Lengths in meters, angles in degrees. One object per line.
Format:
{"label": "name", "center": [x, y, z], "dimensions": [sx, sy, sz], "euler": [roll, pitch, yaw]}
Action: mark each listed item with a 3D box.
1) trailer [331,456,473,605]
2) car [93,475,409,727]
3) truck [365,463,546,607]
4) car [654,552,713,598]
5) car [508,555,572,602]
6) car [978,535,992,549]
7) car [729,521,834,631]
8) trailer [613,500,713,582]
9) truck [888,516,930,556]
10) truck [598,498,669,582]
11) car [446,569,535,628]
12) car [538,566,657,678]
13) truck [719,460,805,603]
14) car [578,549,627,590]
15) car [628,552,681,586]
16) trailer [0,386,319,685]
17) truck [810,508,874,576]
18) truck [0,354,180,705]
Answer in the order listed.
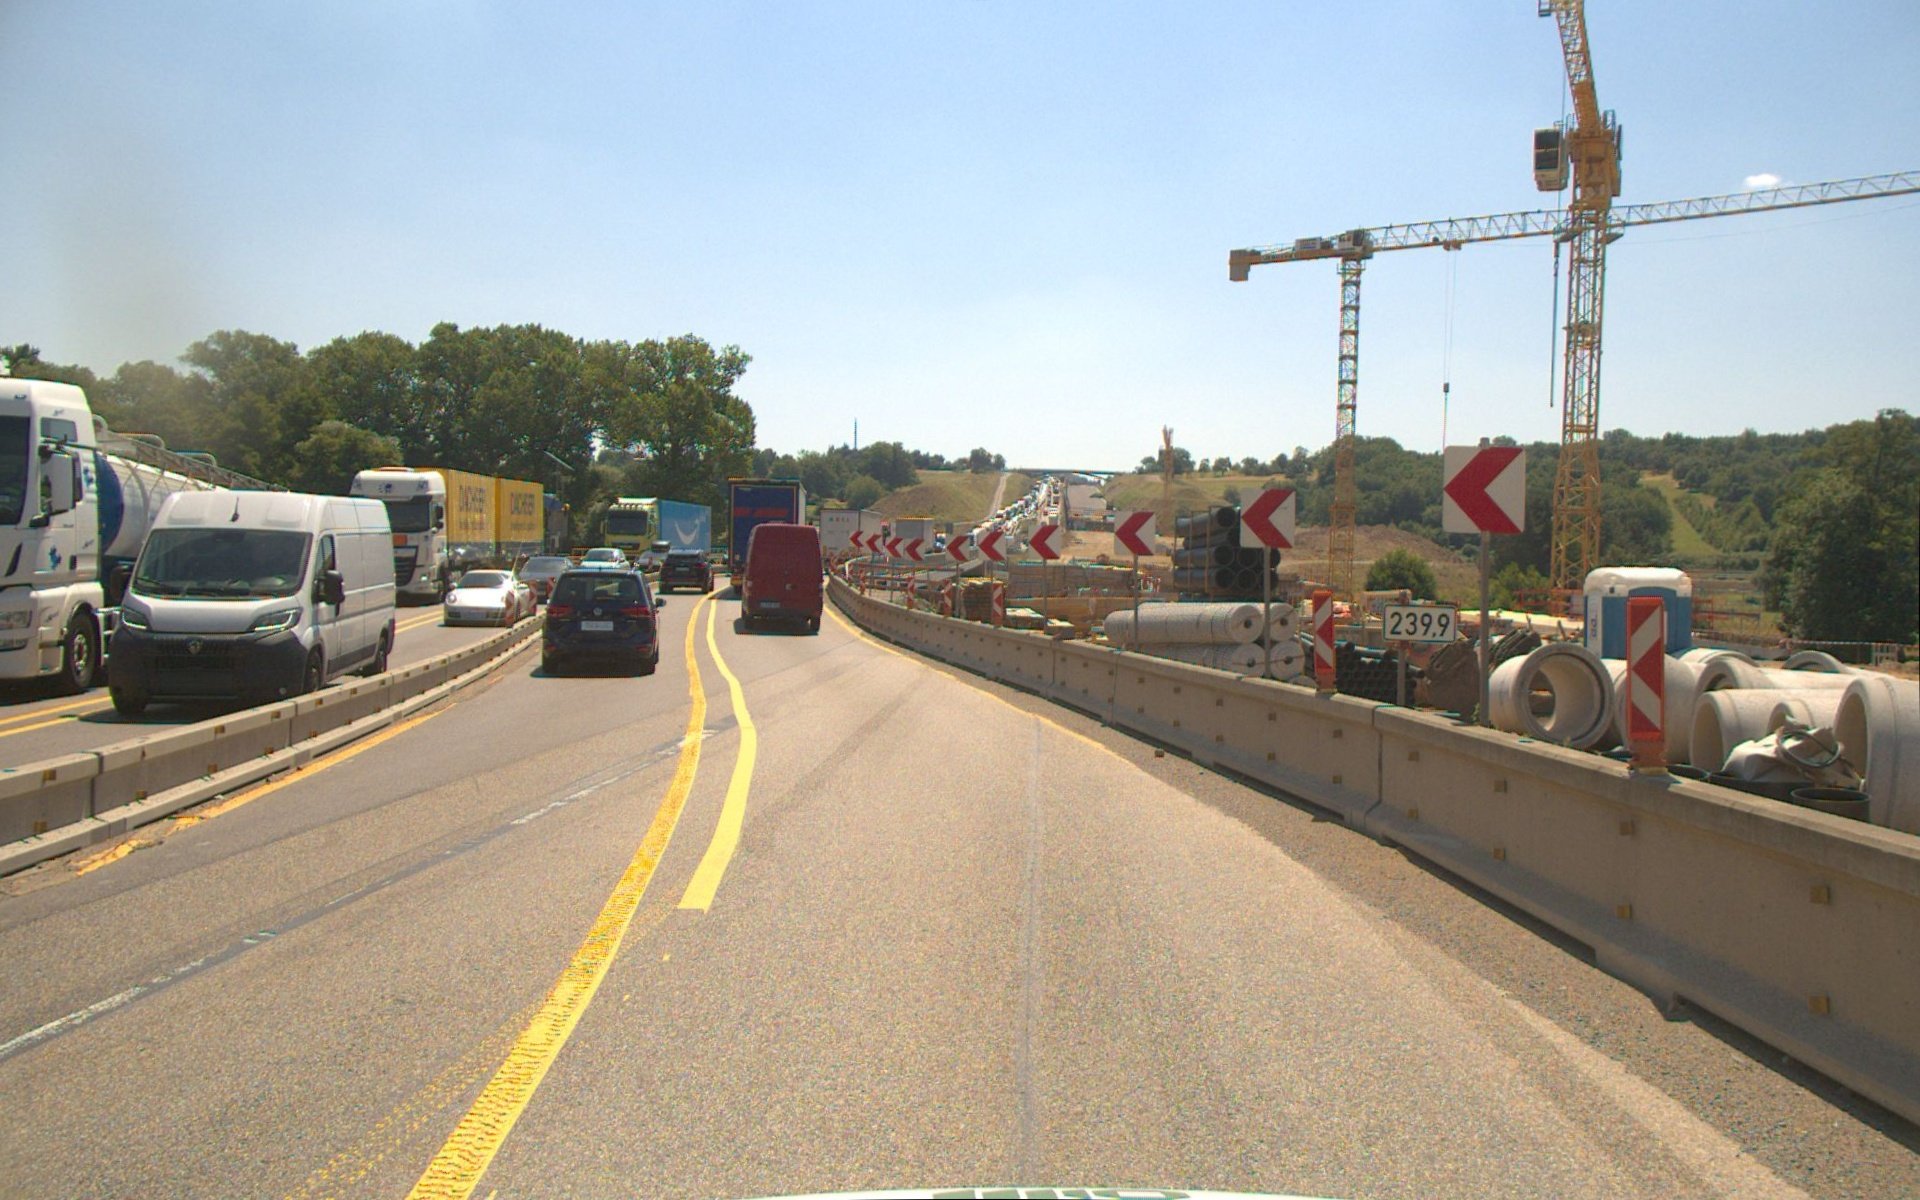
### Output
{"label": "trailer", "center": [-17.091, -2.065, 50.967], "dimensions": [2.809, 4.303, 5.215], "euler": [1, 1, -3]}
{"label": "car", "center": [-8.303, 0.043, 20.124], "dimensions": [2.033, 2.547, 6.468], "euler": [1, -1, -10]}
{"label": "truck", "center": [-17.693, -2.203, 59.365], "dimensions": [2.751, 4.417, 15.364], "euler": [1, 1, -4]}
{"label": "car", "center": [-10.409, -0.923, 62.531], "dimensions": [1.798, 1.664, 4.385], "euler": [1, 0, -5]}
{"label": "car", "center": [-13.571, -0.725, 53.653], "dimensions": [1.646, 1.385, 4.493], "euler": [1, 2, -10]}
{"label": "car", "center": [3.258, -7.548, 216.050], "dimensions": [1.584, 1.729, 3.892], "euler": [2, 2, 2]}
{"label": "car", "center": [-4.759, -0.635, 43.390], "dimensions": [2.112, 2.656, 5.422], "euler": [1, 1, -12]}
{"label": "trailer", "center": [-17.129, -3.313, 96.512], "dimensions": [2.592, 4.367, 13.315], "euler": [2, 1, 3]}
{"label": "truck", "center": [-4.658, -5.892, 153.246], "dimensions": [3.117, 3.029, 8.901], "euler": [1, -2, 2]}
{"label": "truck", "center": [-17.641, -3.198, 89.653], "dimensions": [2.571, 4.344, 4.734], "euler": [2, 1, 2]}
{"label": "car", "center": [-11.586, -0.083, 41.021], "dimensions": [1.646, 1.286, 4.326], "euler": [1, 2, -10]}
{"label": "car", "center": [-5.910, 0.297, 27.345], "dimensions": [1.702, 1.664, 4.379], "euler": [1, 1, -10]}
{"label": "truck", "center": [-7.353, -2.539, 62.286], "dimensions": [2.887, 5.031, 6.736], "euler": [1, 2, -5]}
{"label": "car", "center": [-14.585, -1.276, 67.561], "dimensions": [1.606, 1.511, 3.994], "euler": [1, 3, -8]}
{"label": "car", "center": [-14.646, -1.498, 79.406], "dimensions": [1.784, 1.460, 4.583], "euler": [2, 2, -2]}
{"label": "trailer", "center": [-12.865, -0.890, 26.729], "dimensions": [2.479, 3.855, 10.222], "euler": [2, 0, -9]}
{"label": "truck", "center": [-7.354, -3.601, 103.691], "dimensions": [3.115, 4.059, 6.745], "euler": [1, 2, 3]}
{"label": "truck", "center": [-11.875, -0.834, 20.614], "dimensions": [2.487, 3.888, 4.939], "euler": [2, 0, -9]}
